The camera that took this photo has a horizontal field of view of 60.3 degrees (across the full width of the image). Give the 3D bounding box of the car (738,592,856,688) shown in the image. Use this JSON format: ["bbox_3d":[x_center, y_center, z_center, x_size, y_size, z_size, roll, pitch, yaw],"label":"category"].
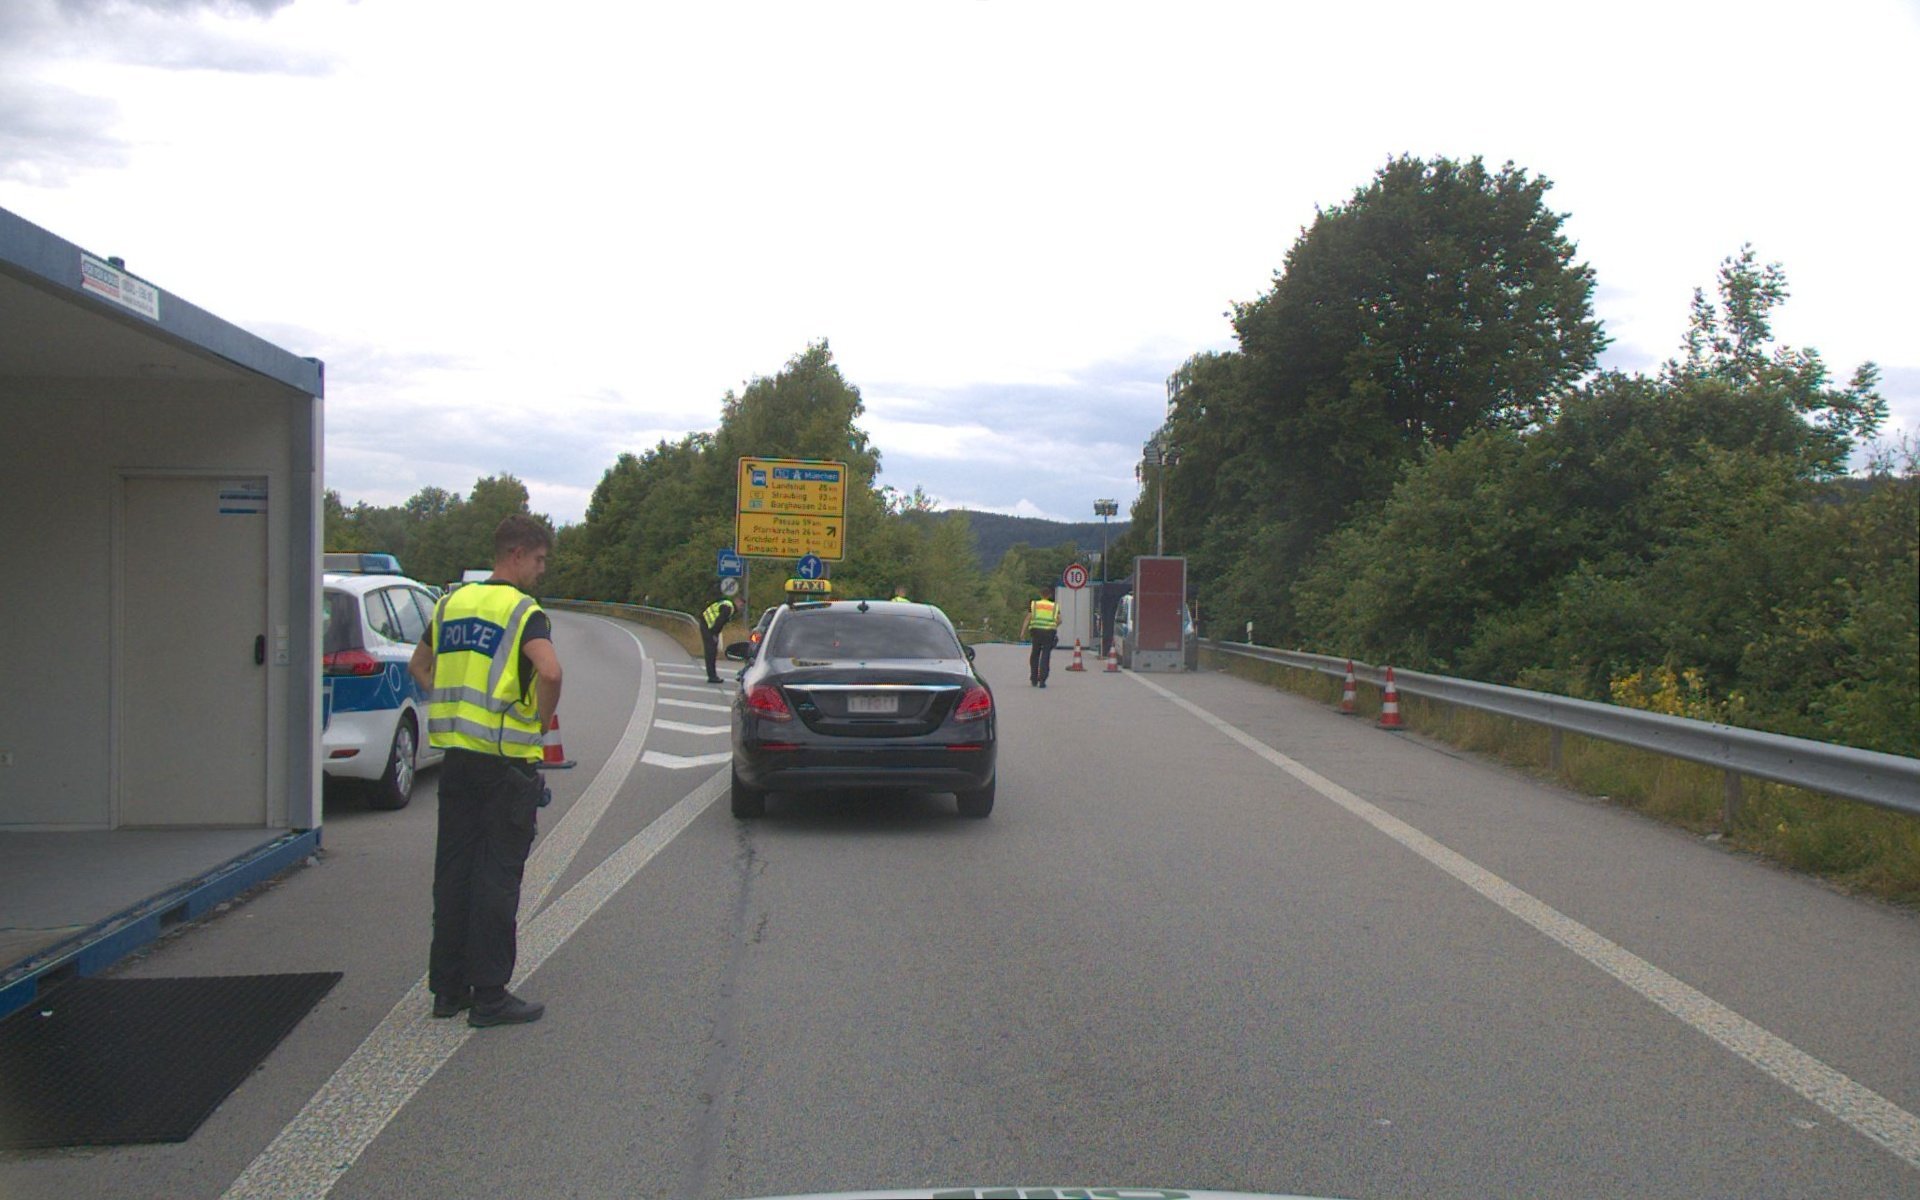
[{"bbox_3d":[-2.726,0.634,28.448,1.818,1.524,4.254,0,0,-3],"label":"car"}]

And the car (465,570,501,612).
[{"bbox_3d":[-26.072,-0.495,90.425,1.825,2.261,4.238,0,0,-16],"label":"car"}]

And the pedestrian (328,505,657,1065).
[{"bbox_3d":[-1.609,0.577,5.726,0.747,1.748,0.814,0,0,37],"label":"pedestrian"}]

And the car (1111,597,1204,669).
[{"bbox_3d":[5.116,0.813,43.513,1.877,1.707,5.084,2,0,1],"label":"car"}]

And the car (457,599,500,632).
[{"bbox_3d":[-22.723,0.733,78.144,1.821,1.488,3.983,1,0,-15],"label":"car"}]

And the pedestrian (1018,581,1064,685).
[{"bbox_3d":[1.473,0.599,30.191,0.796,1.862,0.809,0,0,-1],"label":"pedestrian"}]

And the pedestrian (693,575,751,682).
[{"bbox_3d":[-4.102,0.486,28.518,0.892,1.800,0.911,1,0,-3],"label":"pedestrian"}]

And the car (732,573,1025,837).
[{"bbox_3d":[-0.787,0.647,12.468,1.820,1.623,4.368,0,0,-8],"label":"car"}]

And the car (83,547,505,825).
[{"bbox_3d":[-4.818,0.553,12.629,1.832,1.774,4.004,0,0,-4],"label":"car"}]

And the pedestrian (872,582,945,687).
[{"bbox_3d":[-0.864,0.568,27.693,0.900,1.727,0.904,1,0,-32],"label":"pedestrian"}]

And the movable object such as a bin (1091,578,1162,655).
[{"bbox_3d":[5.216,0.503,52.357,1.952,2.320,4.169,1,0,2],"label":"movable object such as a bin"}]

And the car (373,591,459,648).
[{"bbox_3d":[-15.164,0.516,46.254,1.823,1.524,4.243,0,0,-12],"label":"car"}]
